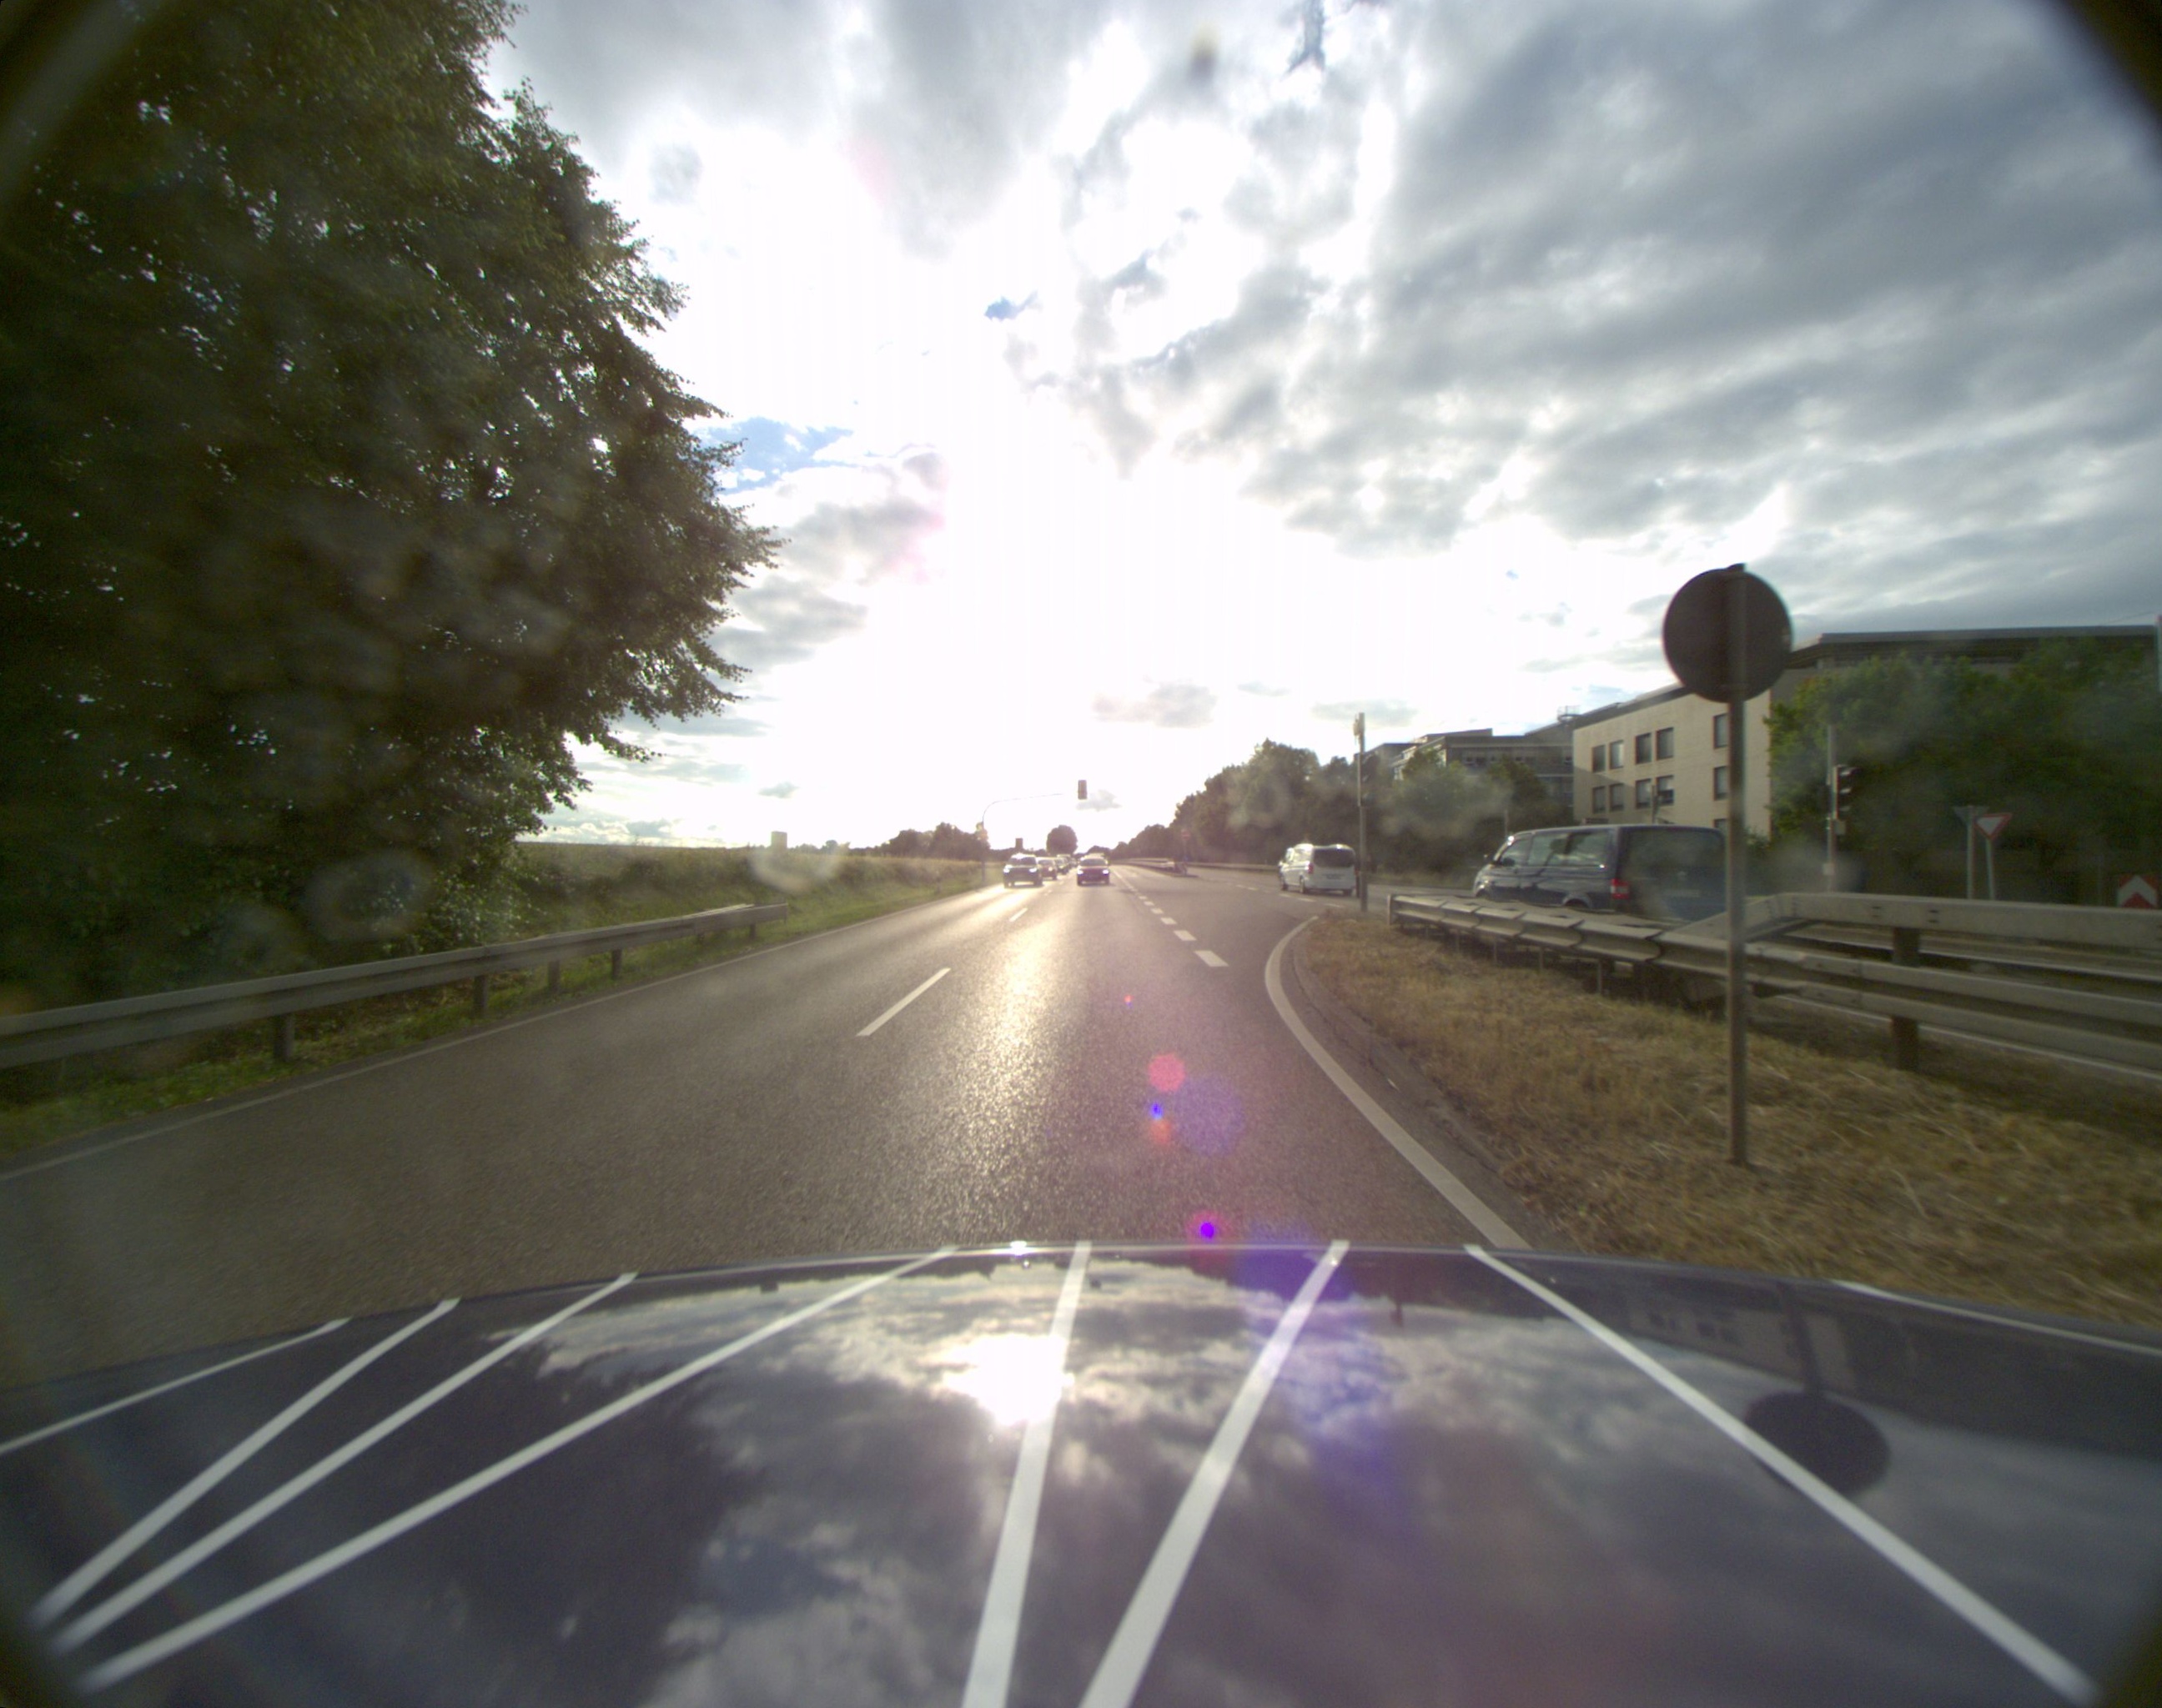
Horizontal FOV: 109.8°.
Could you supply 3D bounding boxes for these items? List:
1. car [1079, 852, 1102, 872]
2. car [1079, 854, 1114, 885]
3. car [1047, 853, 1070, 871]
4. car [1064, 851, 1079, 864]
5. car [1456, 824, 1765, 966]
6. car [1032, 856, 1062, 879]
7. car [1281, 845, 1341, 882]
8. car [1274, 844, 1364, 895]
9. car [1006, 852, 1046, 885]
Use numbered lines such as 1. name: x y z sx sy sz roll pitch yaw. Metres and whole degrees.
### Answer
1. car: 0.757 0.645 61.046 1.758 1.543 4.000 0 0 1
2. car: 0.844 0.775 39.748 1.723 1.467 3.728 -2 0 2
3. car: -1.916 0.687 66.131 1.723 1.467 3.866 -2 0 1
4. car: -1.337 0.546 111.428 1.998 1.740 4.000 3 1 1
5. car: 8.704 0.552 13.240 1.903 1.906 5.050 3 1 2
6. car: -2.307 0.869 51.885 1.668 1.467 3.866 -2 0 2
7. car: 13.204 0.505 43.979 1.939 1.978 5.090 1 1 1
8. car: 9.374 0.538 30.448 1.939 1.861 5.346 1 1 1
9. car: -2.969 0.757 41.720 1.723 1.658 4.419 -2 0 1
